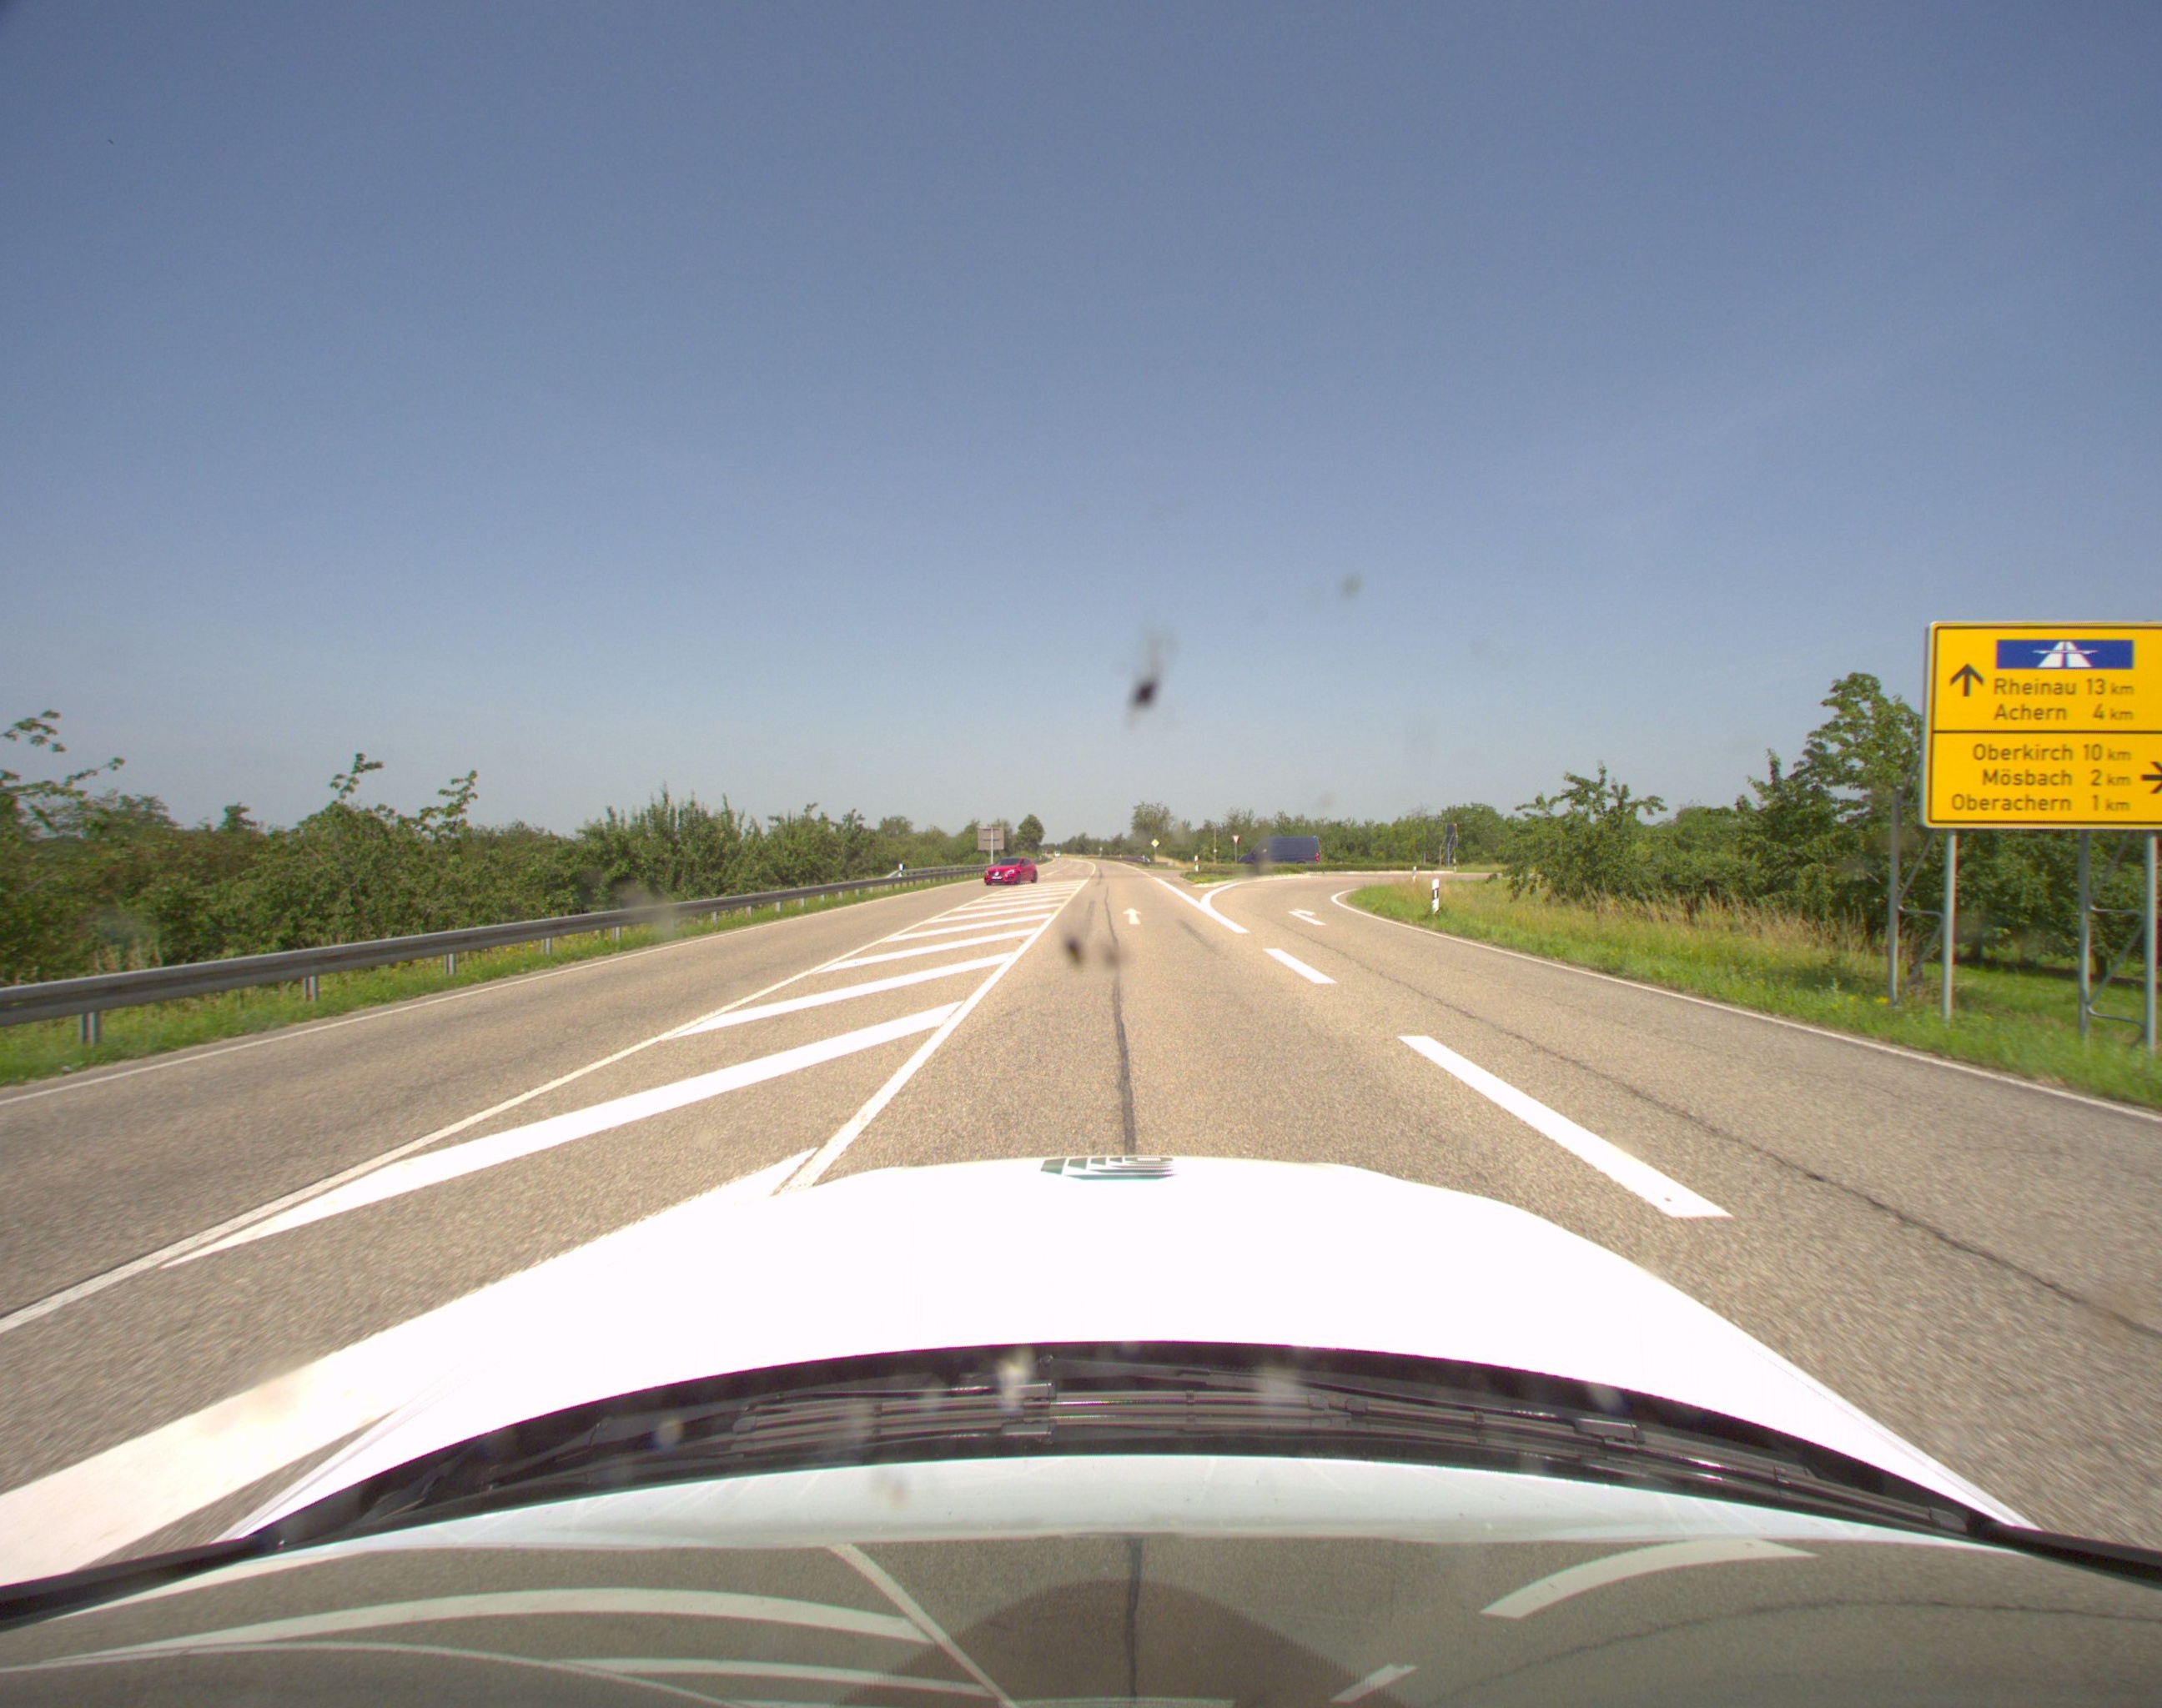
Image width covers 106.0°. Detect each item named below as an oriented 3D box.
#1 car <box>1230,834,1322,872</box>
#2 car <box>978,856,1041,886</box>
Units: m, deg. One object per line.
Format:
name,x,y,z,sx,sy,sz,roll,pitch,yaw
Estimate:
car,14.174,-0.062,59.148,6.241,2.575,2.072,-2,-1,18
car,-3.701,0.884,42.837,1.802,1.449,4.513,-1,0,15
